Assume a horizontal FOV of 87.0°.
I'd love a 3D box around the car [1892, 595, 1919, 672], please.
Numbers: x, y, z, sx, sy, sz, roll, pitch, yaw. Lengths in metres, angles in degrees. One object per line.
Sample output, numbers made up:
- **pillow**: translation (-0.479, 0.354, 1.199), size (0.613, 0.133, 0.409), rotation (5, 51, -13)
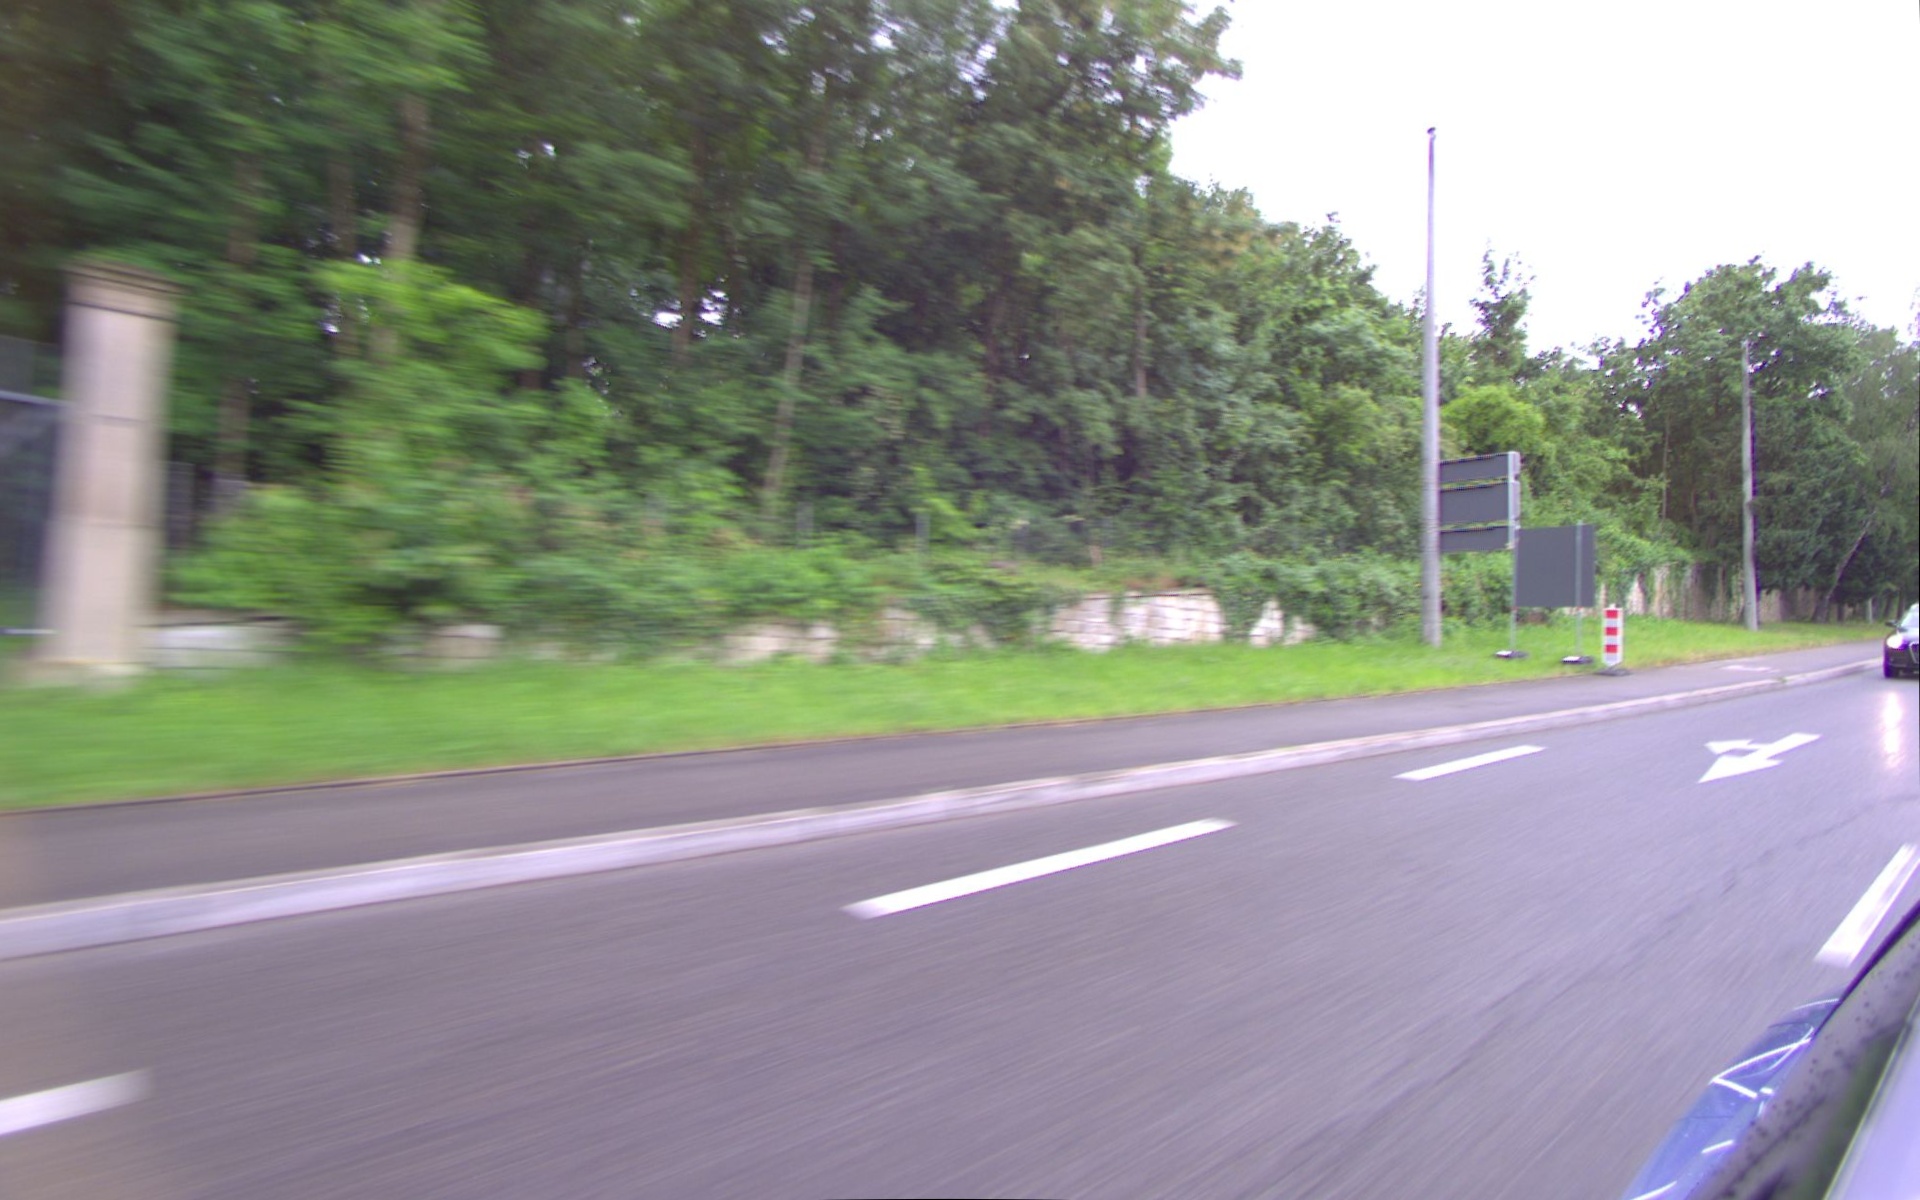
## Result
- **car**: translation (21.795, 0.702, 21.966), size (3.929, 1.608, 1.854), rotation (0, 0, -41)
